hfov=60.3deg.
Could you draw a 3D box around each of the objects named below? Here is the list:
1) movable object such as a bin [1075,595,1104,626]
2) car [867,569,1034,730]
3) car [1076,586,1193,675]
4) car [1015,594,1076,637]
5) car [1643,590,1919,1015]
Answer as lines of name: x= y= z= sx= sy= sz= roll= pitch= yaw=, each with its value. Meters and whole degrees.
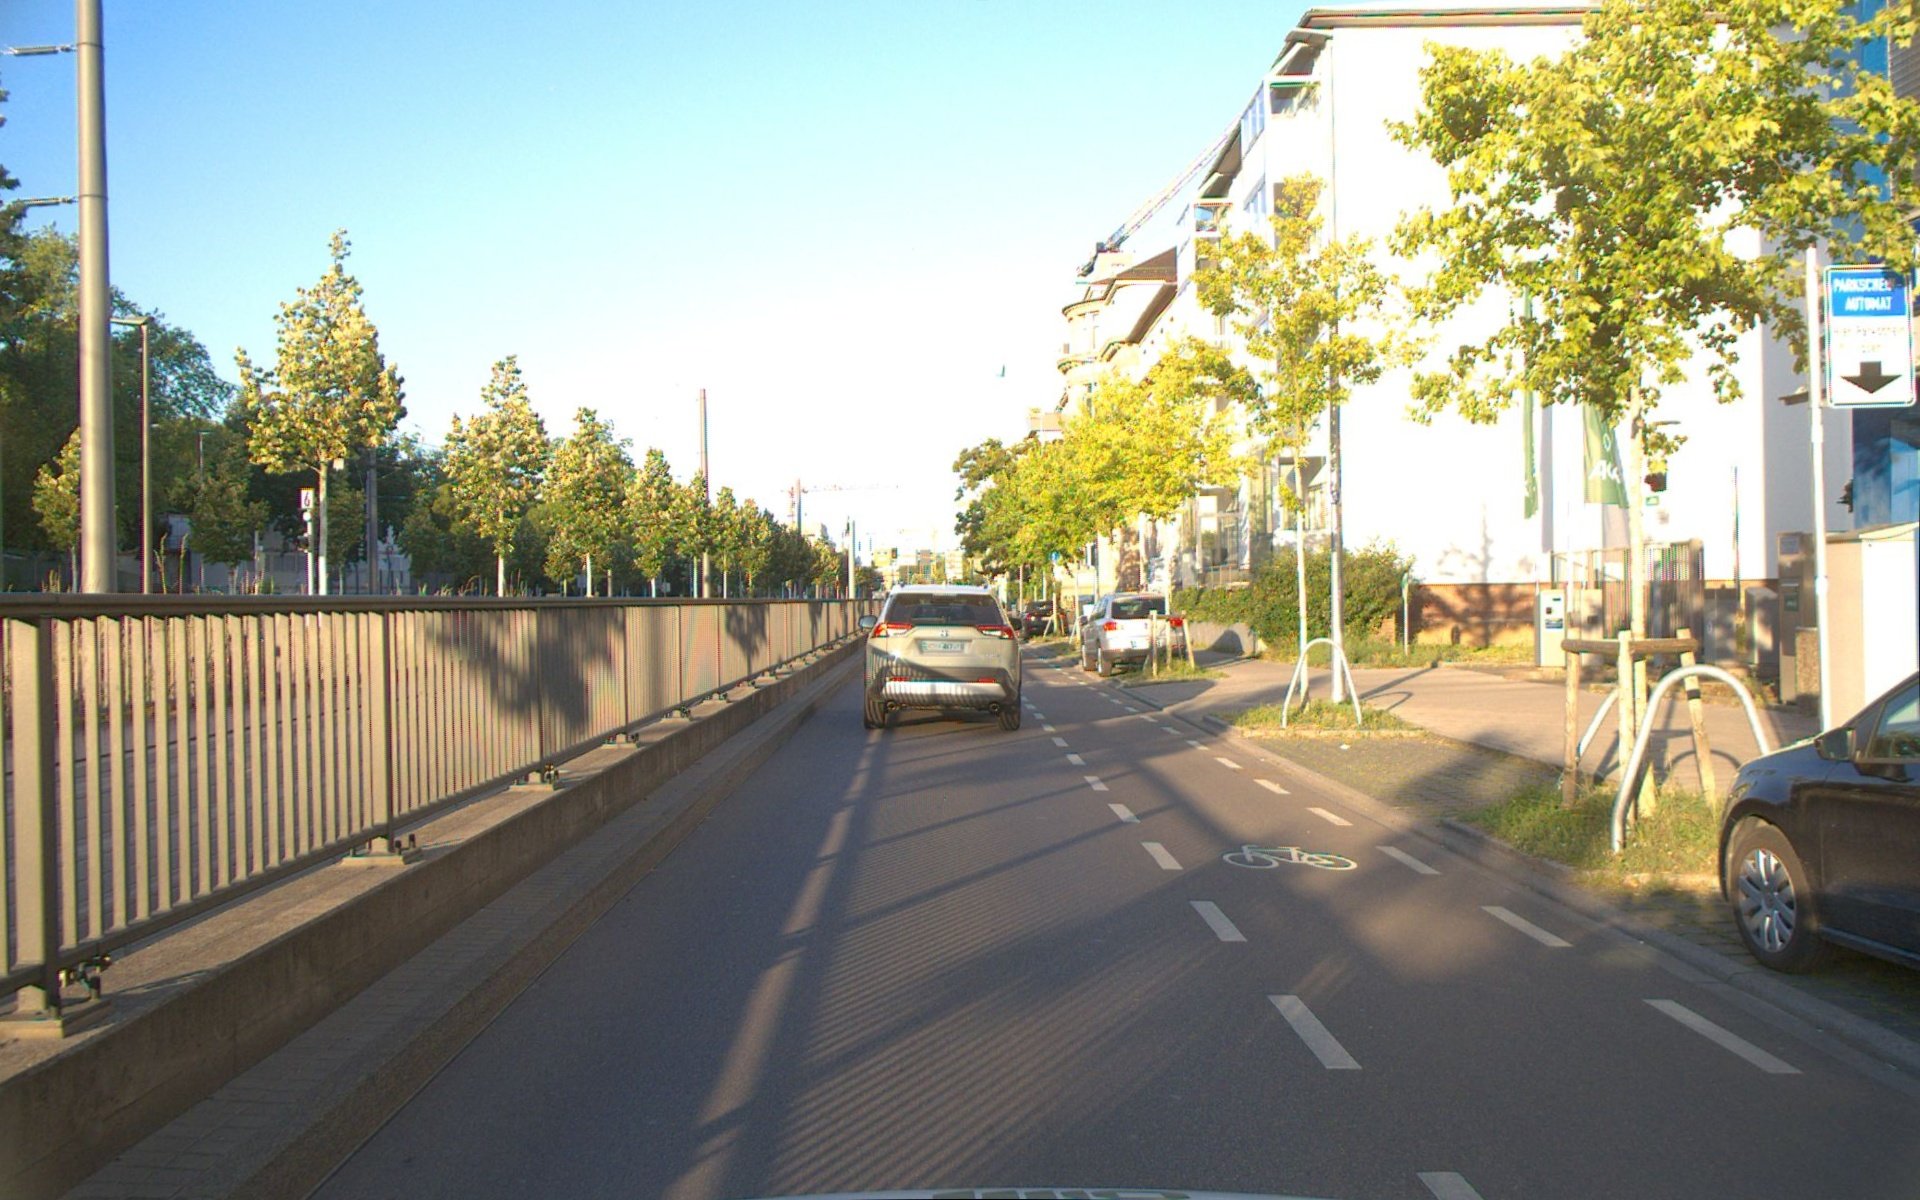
movable object such as a bin: x=6.270 y=0.505 z=80.267 sx=1.235 sy=1.487 sz=1.123 roll=0 pitch=0 yaw=-4
car: x=-0.200 y=0.551 z=20.305 sx=1.821 sy=1.744 sz=4.190 roll=1 pitch=0 yaw=-3
car: x=3.616 y=0.602 z=35.033 sx=1.817 sy=1.736 sz=4.252 roll=-1 pitch=0 yaw=-3
car: x=3.287 y=0.597 z=64.259 sx=1.757 sy=1.496 sz=4.442 roll=-4 pitch=0 yaw=-4
car: x=4.277 y=0.704 z=5.839 sx=1.783 sy=1.480 sz=4.125 roll=-2 pitch=0 yaw=-4
